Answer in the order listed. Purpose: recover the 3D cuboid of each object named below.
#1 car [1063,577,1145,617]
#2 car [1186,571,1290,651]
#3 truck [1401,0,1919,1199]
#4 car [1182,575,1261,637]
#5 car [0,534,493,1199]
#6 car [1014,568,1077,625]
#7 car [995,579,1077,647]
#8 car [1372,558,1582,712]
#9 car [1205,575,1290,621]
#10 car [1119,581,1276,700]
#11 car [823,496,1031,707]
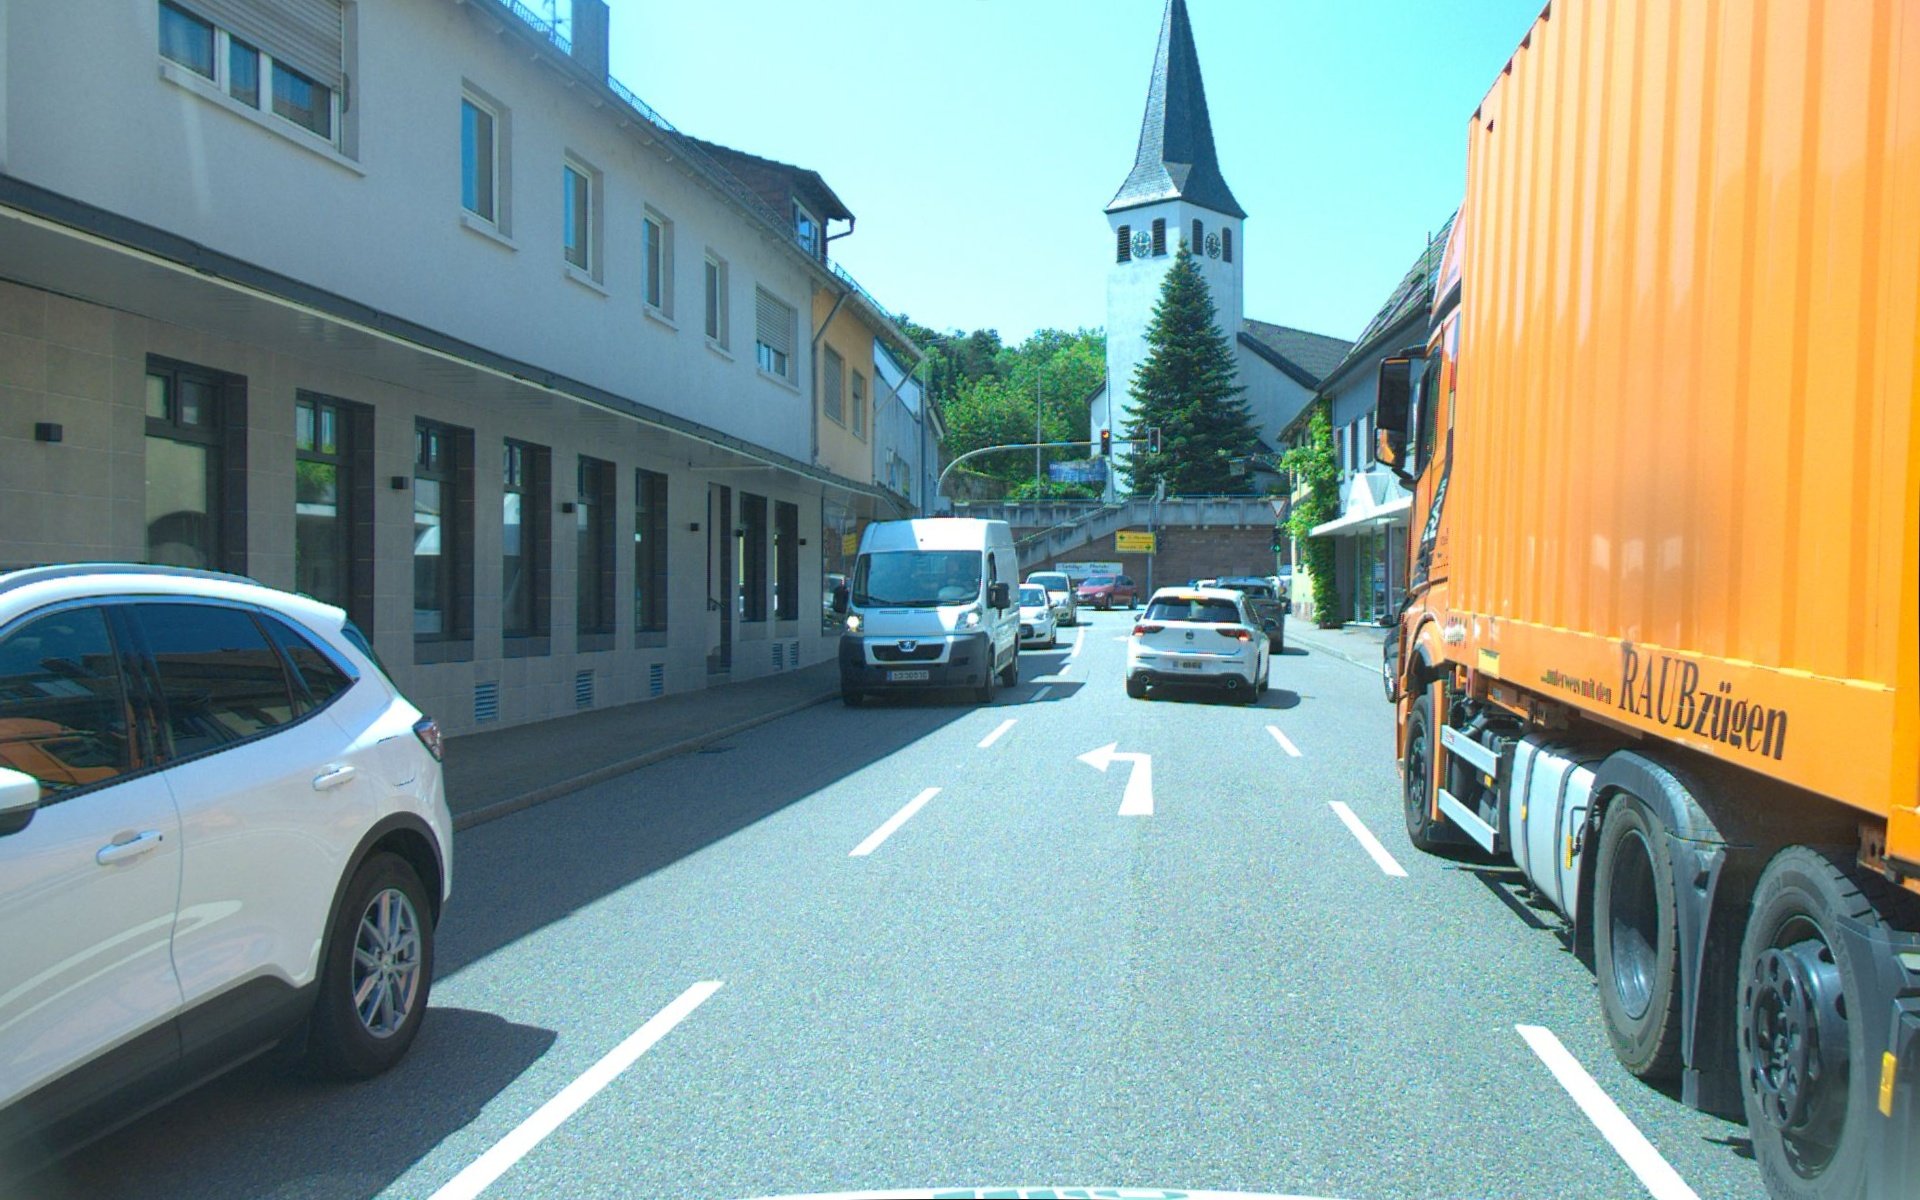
[{"bbox_3d":[5.962,-0.153,68.010,1.685,1.433,4.277,-2,1,30],"label":"car"},{"bbox_3d":[6.282,0.198,37.790,1.908,1.609,4.329,0,2,4],"label":"car"},{"bbox_3d":[3.617,-0.567,6.352,2.553,4.014,10.000,0,0,8],"label":"truck"},{"bbox_3d":[7.679,0.130,48.976,1.908,1.609,4.329,0,2,4],"label":"car"},{"bbox_3d":[-2.847,0.685,4.044,1.779,1.582,4.201,-2,-1,6],"label":"car"},{"bbox_3d":[2.697,-0.138,51.702,1.643,1.645,3.824,-2,1,7],"label":"car"},{"bbox_3d":[1.833,0.290,38.965,1.562,1.480,3.450,-2,0,8],"label":"car"},{"bbox_3d":[6.547,0.396,21.382,1.951,1.738,4.104,-2,0,9],"label":"car"},{"bbox_3d":[11.316,-0.127,64.881,1.913,1.609,4.318,2,3,30],"label":"car"},{"bbox_3d":[3.351,0.485,22.777,1.745,1.483,3.866,0,1,14],"label":"car"},{"bbox_3d":[-0.316,0.002,23.608,2.094,2.613,5.398,-2,0,8],"label":"car"}]
